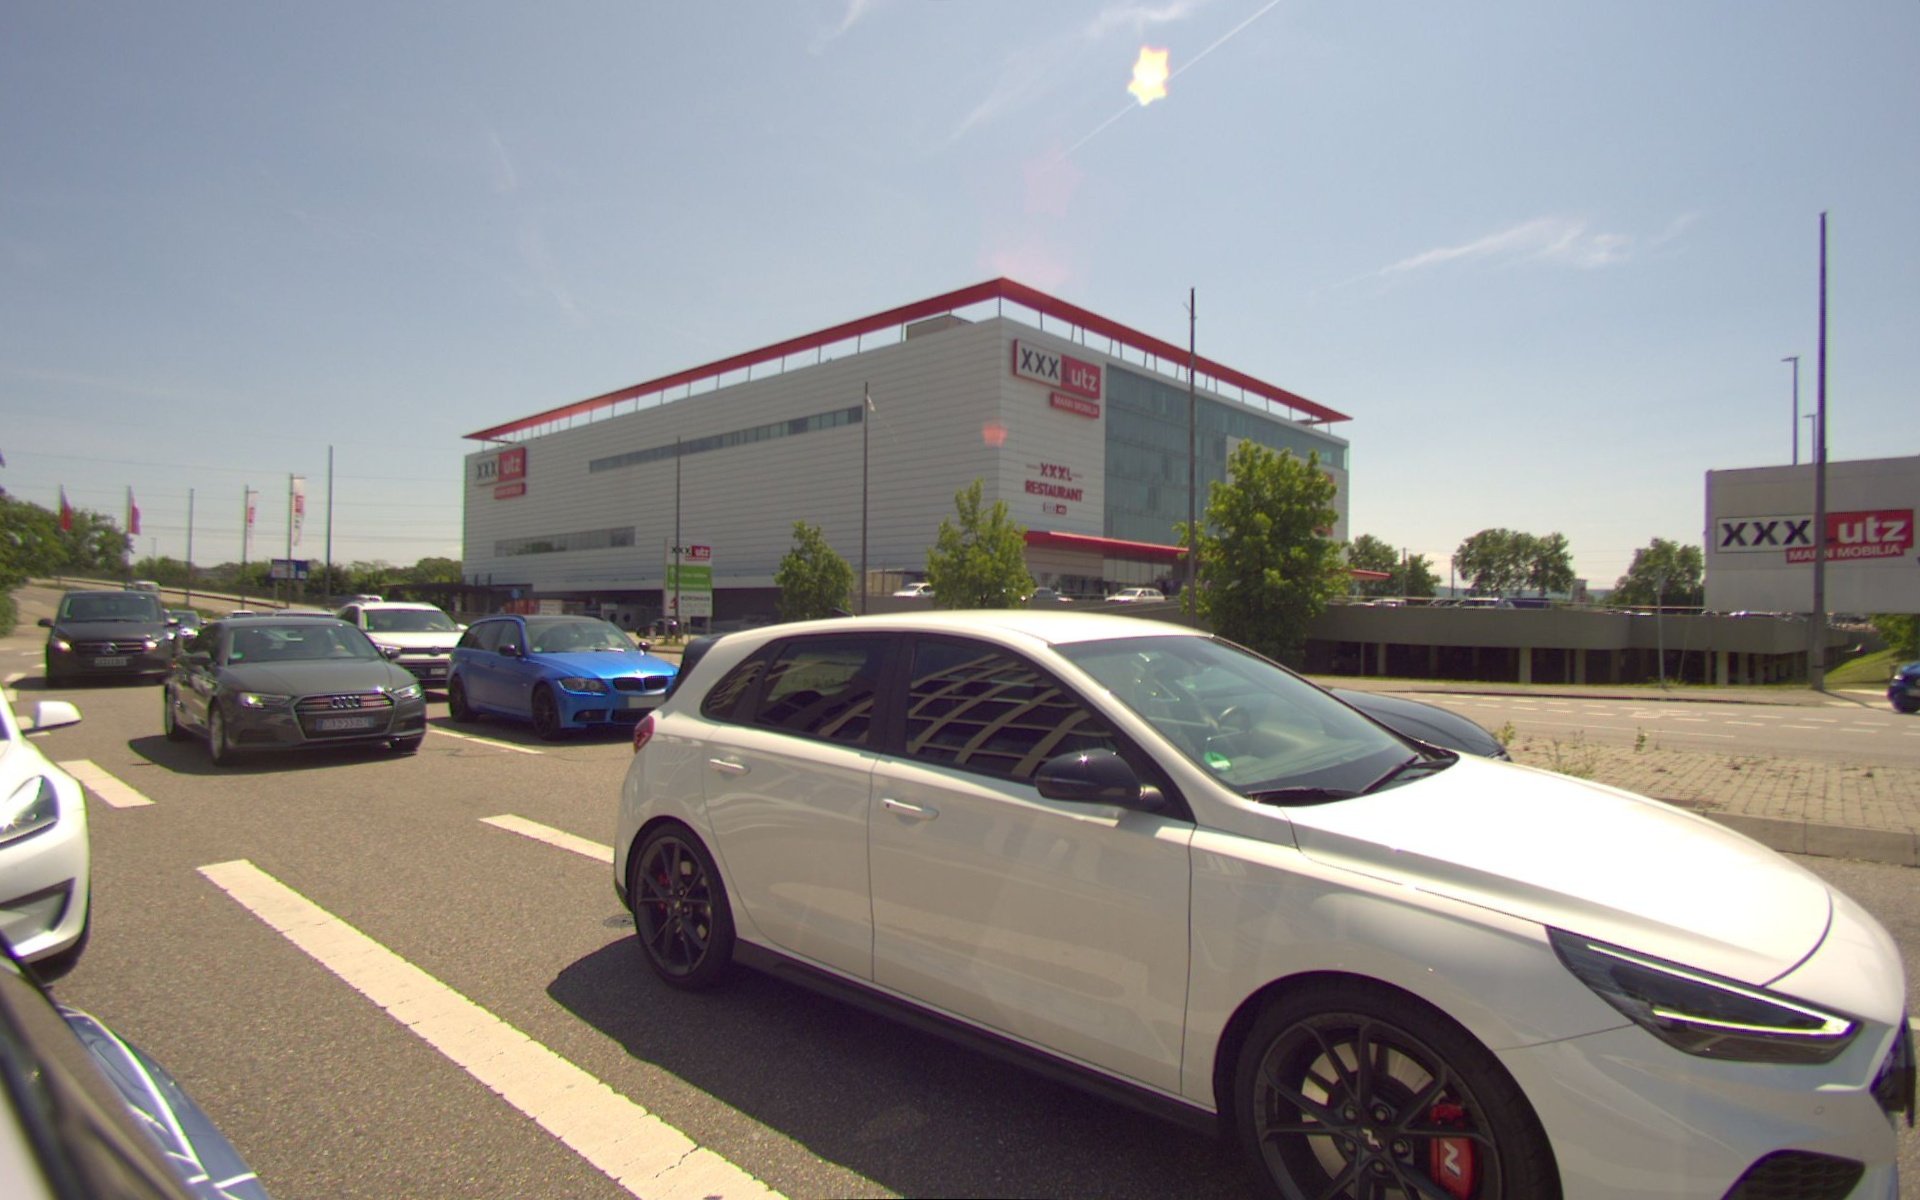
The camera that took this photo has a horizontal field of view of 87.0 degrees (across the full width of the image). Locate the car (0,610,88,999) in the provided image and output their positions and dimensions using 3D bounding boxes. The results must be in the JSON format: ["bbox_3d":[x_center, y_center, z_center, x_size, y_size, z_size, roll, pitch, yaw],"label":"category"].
[{"bbox_3d":[-5.614,0.786,4.697,4.282,1.447,1.800,-1,0,41],"label":"car"}]

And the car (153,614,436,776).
[{"bbox_3d":[-7.226,0.853,10.818,1.745,1.393,4.092,1,-1,-45],"label":"car"}]

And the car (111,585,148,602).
[{"bbox_3d":[-87.067,-0.670,106.108,4.029,1.736,1.848,0,-2,32],"label":"car"}]

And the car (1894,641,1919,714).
[{"bbox_3d":[19.944,1.483,19.025,3.384,1.374,1.623,1,-1,-6],"label":"car"}]

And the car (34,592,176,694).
[{"bbox_3d":[-17.492,0.788,20.612,1.869,1.835,4.840,0,-1,-44],"label":"car"}]

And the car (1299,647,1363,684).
[{"bbox_3d":[19.067,3.304,51.964,1.997,1.719,3.949,-1,-2,38],"label":"car"}]

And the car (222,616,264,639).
[{"bbox_3d":[-47.931,1.823,67.594,1.701,1.483,4.003,2,-2,-44],"label":"car"}]

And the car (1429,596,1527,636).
[{"bbox_3d":[27.138,0.824,53.091,4.323,2.029,1.974,0,-2,38],"label":"car"}]

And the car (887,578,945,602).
[{"bbox_3d":[-2.979,-0.639,69.048,1.717,1.519,3.944,-1,-2,42],"label":"car"}]

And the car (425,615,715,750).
[{"bbox_3d":[-5.104,0.908,12.915,4.432,1.413,1.745,-1,-1,44],"label":"car"}]

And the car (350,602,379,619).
[{"bbox_3d":[-79.621,1.425,135.261,4.815,2.300,2.162,-1,-2,44],"label":"car"}]

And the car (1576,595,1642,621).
[{"bbox_3d":[52.972,0.657,82.616,4.328,2.029,1.972,0,-2,42],"label":"car"}]

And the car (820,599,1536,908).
[{"bbox_3d":[1.141,0.770,6.772,4.466,1.415,1.653,-2,-2,42],"label":"car"}]

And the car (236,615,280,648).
[{"bbox_3d":[-35.038,1.563,50.585,1.698,1.564,4.011,1,-2,-33],"label":"car"}]

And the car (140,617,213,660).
[{"bbox_3d":[-28.220,1.366,36.523,1.582,1.451,3.744,1,-2,-30],"label":"car"}]

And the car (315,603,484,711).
[{"bbox_3d":[-9.968,0.902,17.829,1.743,1.653,4.498,0,0,-40],"label":"car"}]

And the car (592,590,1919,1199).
[{"bbox_3d":[0.593,0.727,3.484,4.068,1.447,1.769,-1,-1,41],"label":"car"}]

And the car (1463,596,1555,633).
[{"bbox_3d":[31.019,0.805,57.208,4.323,2.029,1.975,0,-2,38],"label":"car"}]

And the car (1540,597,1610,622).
[{"bbox_3d":[44.767,0.713,73.665,4.134,1.754,1.759,0,-2,42],"label":"car"}]

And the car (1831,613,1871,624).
[{"bbox_3d":[127.658,2.627,145.046,3.997,1.433,1.679,0,-1,33],"label":"car"}]

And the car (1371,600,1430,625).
[{"bbox_3d":[35.886,1.021,82.489,4.000,1.915,1.972,-1,-2,43],"label":"car"}]

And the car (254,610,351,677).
[{"bbox_3d":[-15.813,0.989,24.252,1.741,1.433,3.908,0,-1,-36],"label":"car"}]

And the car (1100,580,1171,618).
[{"bbox_3d":[10.049,-0.017,57.713,4.407,2.029,1.680,2,-2,-44],"label":"car"}]
